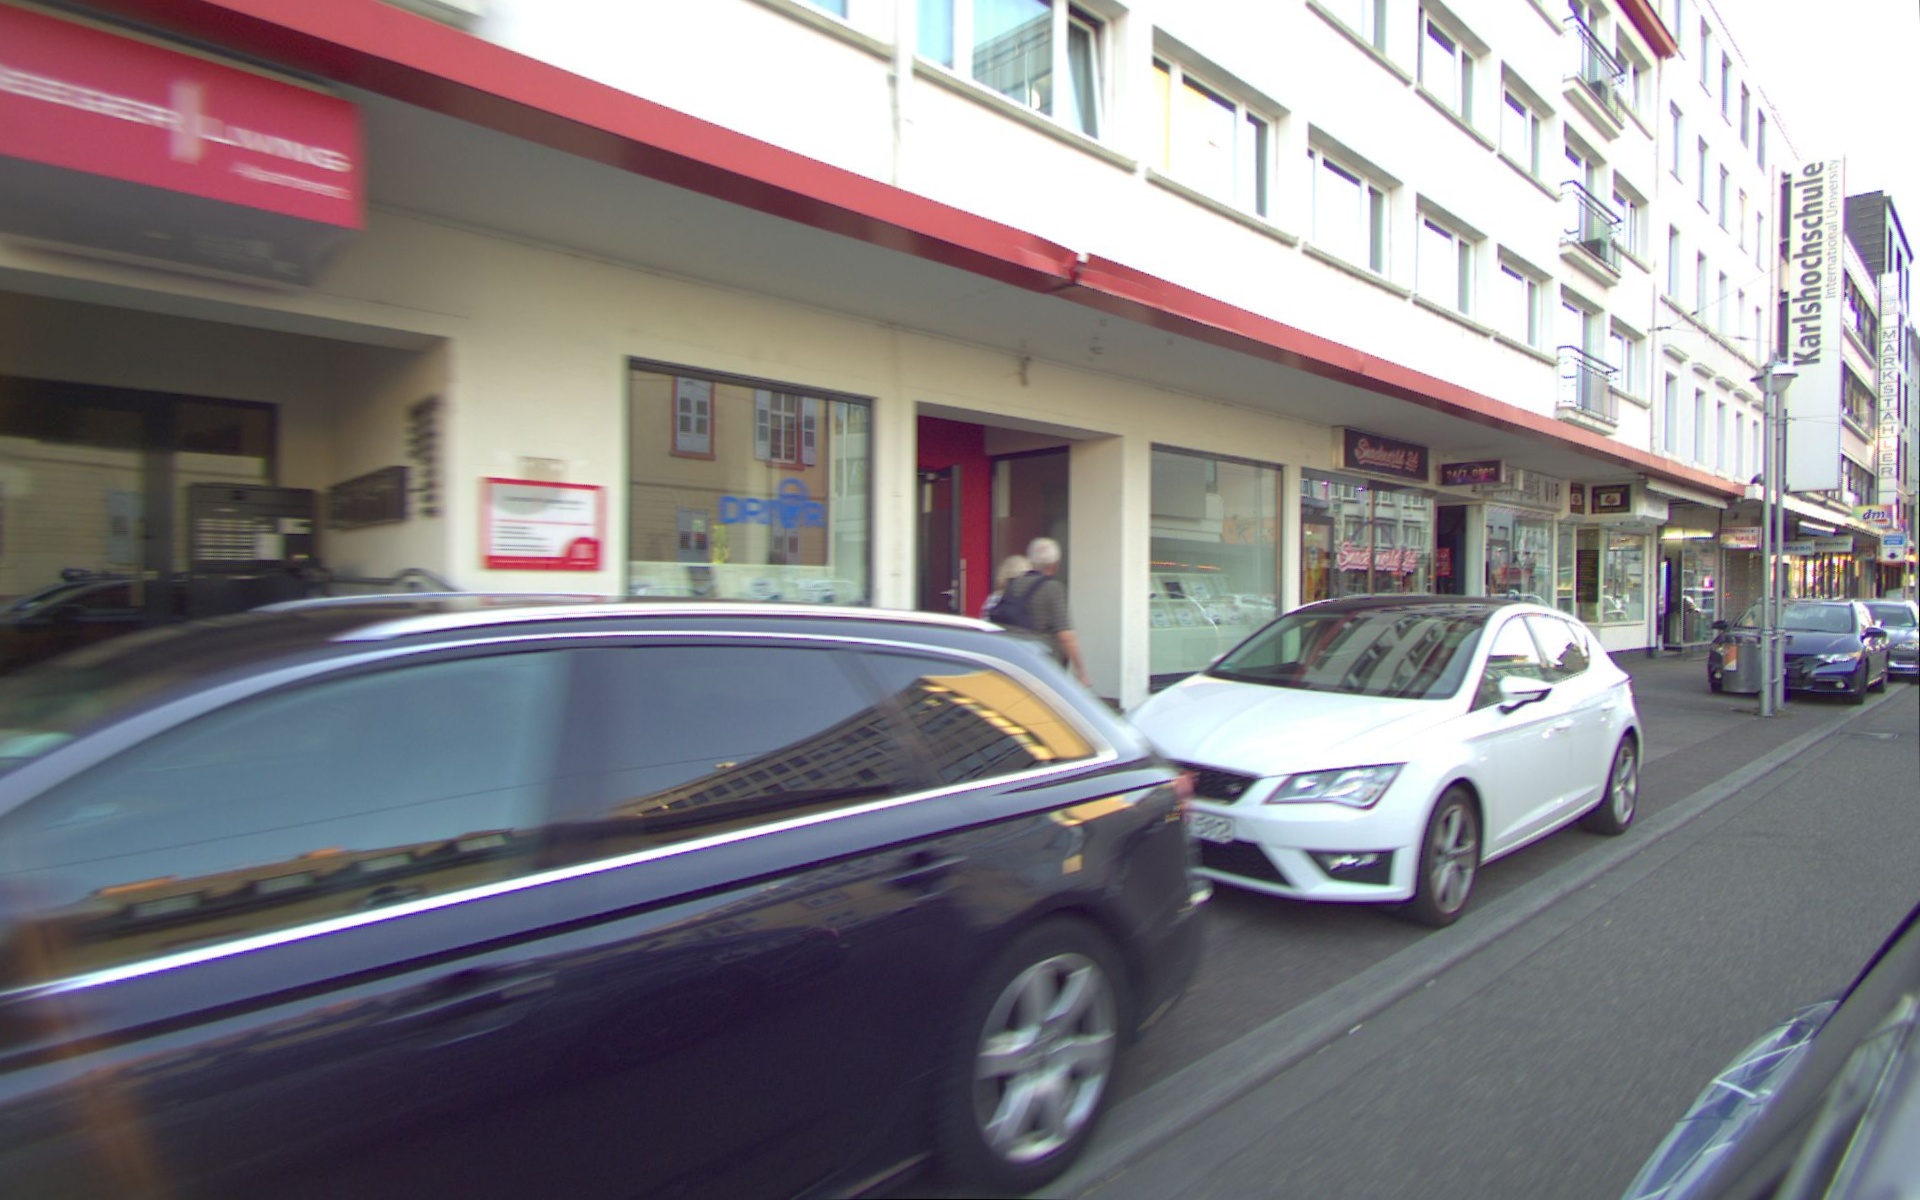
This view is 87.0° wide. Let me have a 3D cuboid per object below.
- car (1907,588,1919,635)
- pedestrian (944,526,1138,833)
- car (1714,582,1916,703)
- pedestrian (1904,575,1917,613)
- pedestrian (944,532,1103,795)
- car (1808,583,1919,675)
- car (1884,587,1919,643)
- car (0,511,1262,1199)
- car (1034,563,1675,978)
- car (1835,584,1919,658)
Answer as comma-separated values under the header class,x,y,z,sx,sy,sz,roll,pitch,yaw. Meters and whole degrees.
class,x,y,z,sx,sy,sz,roll,pitch,yaw
car,33.504,0.389,34.235,4.184,1.530,1.747,0,2,-42
pedestrian,0.501,0.431,6.310,0.828,1.739,0.828,0,2,-42
car,13.031,0.538,15.334,4.229,1.530,1.738,0,2,-42
pedestrian,48.223,-0.314,51.348,0.414,1.922,0.452,0,1,-42
pedestrian,0.457,0.410,7.333,0.848,1.763,0.730,0,2,-42
car,17.621,0.478,19.207,4.633,1.530,1.792,0,3,-44
car,28.491,0.422,29.606,4.095,1.530,1.723,0,2,-42
car,-1.432,0.625,2.031,4.605,1.530,1.738,0,2,-42
car,2.459,0.607,5.792,3.982,1.530,1.788,0,2,-42
car,21.665,0.443,23.369,3.965,1.530,1.689,0,2,-42
